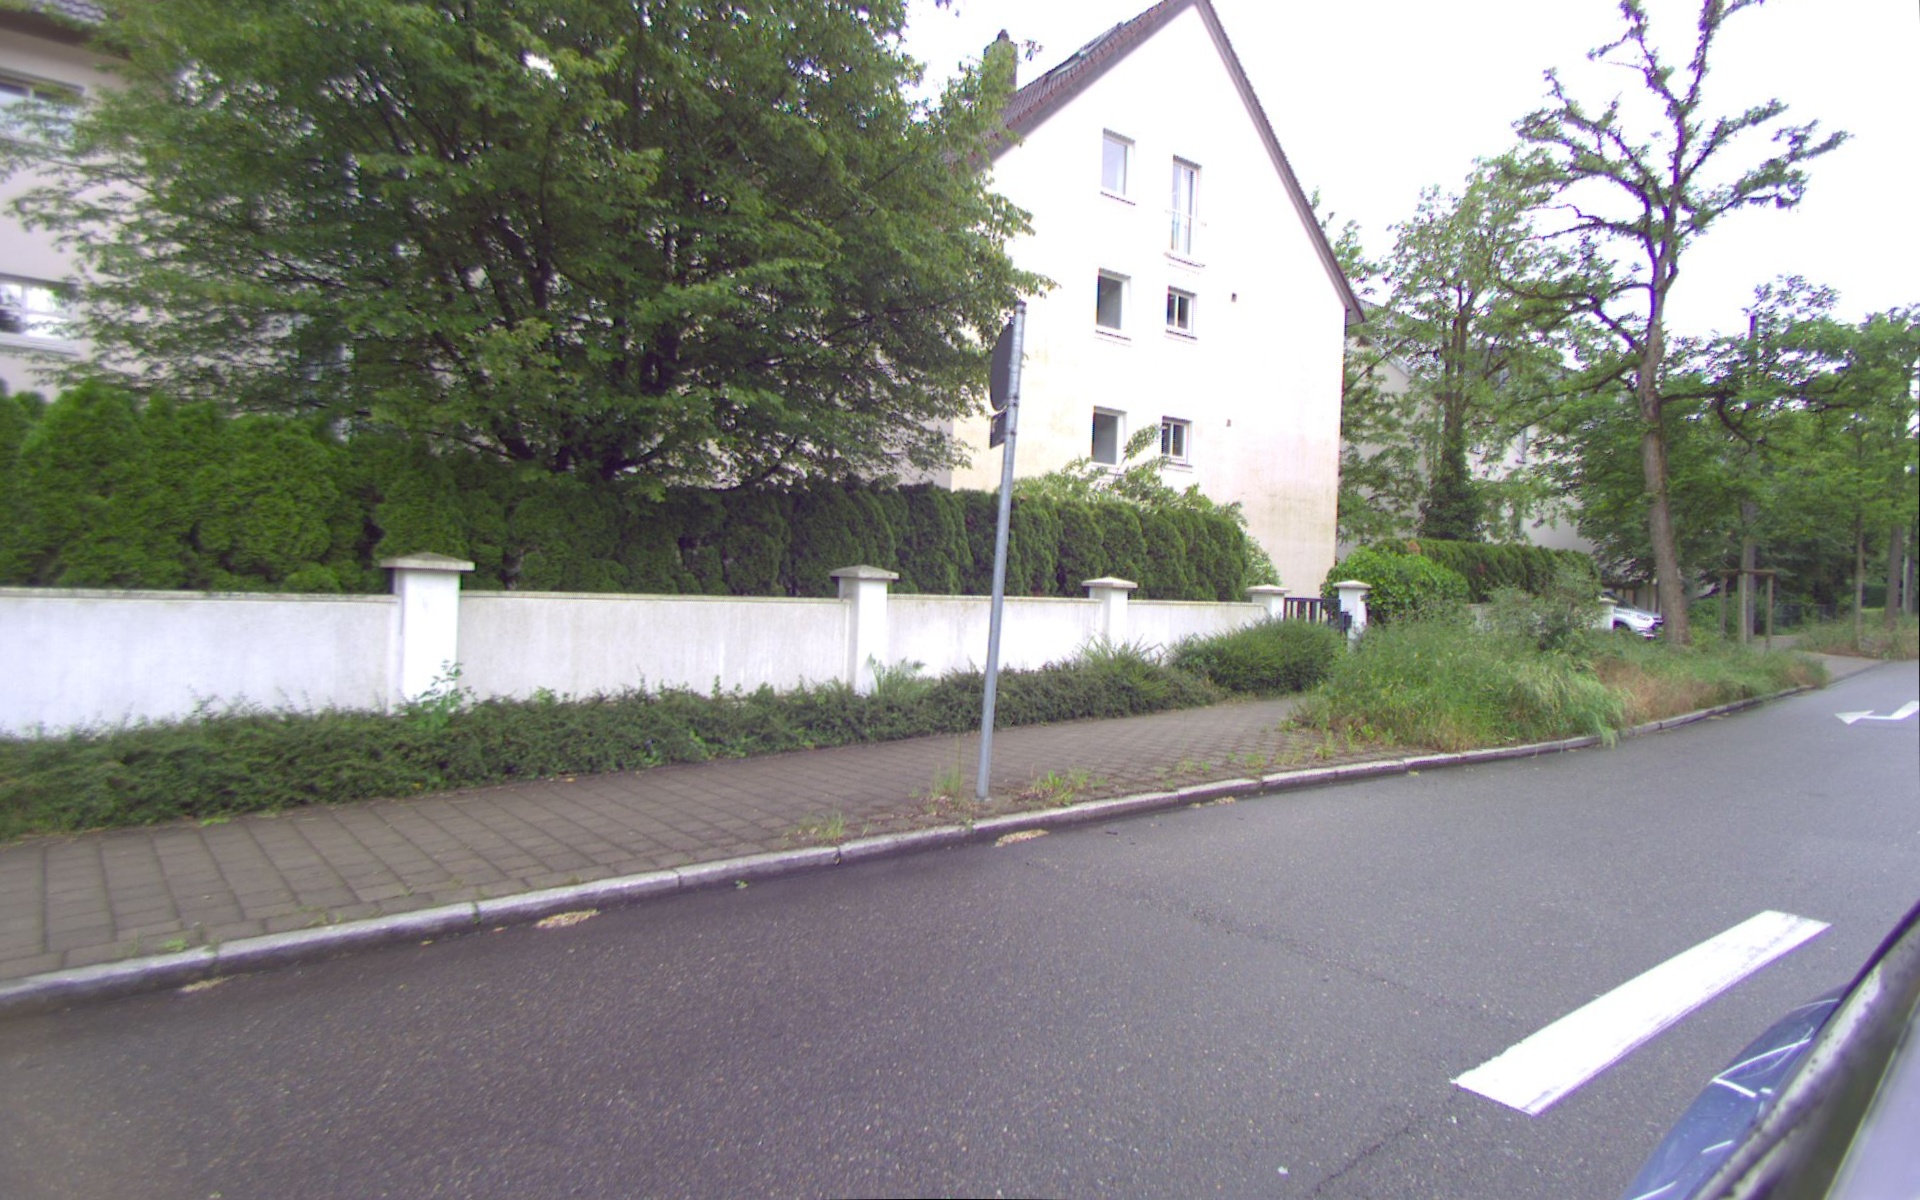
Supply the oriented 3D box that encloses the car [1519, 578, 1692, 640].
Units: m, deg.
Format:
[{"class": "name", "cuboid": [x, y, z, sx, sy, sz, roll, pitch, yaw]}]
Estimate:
[{"class": "car", "cuboid": [20.686, 0.231, 32.622, 1.837, 1.840, 4.322, 1, 1, -31]}]
